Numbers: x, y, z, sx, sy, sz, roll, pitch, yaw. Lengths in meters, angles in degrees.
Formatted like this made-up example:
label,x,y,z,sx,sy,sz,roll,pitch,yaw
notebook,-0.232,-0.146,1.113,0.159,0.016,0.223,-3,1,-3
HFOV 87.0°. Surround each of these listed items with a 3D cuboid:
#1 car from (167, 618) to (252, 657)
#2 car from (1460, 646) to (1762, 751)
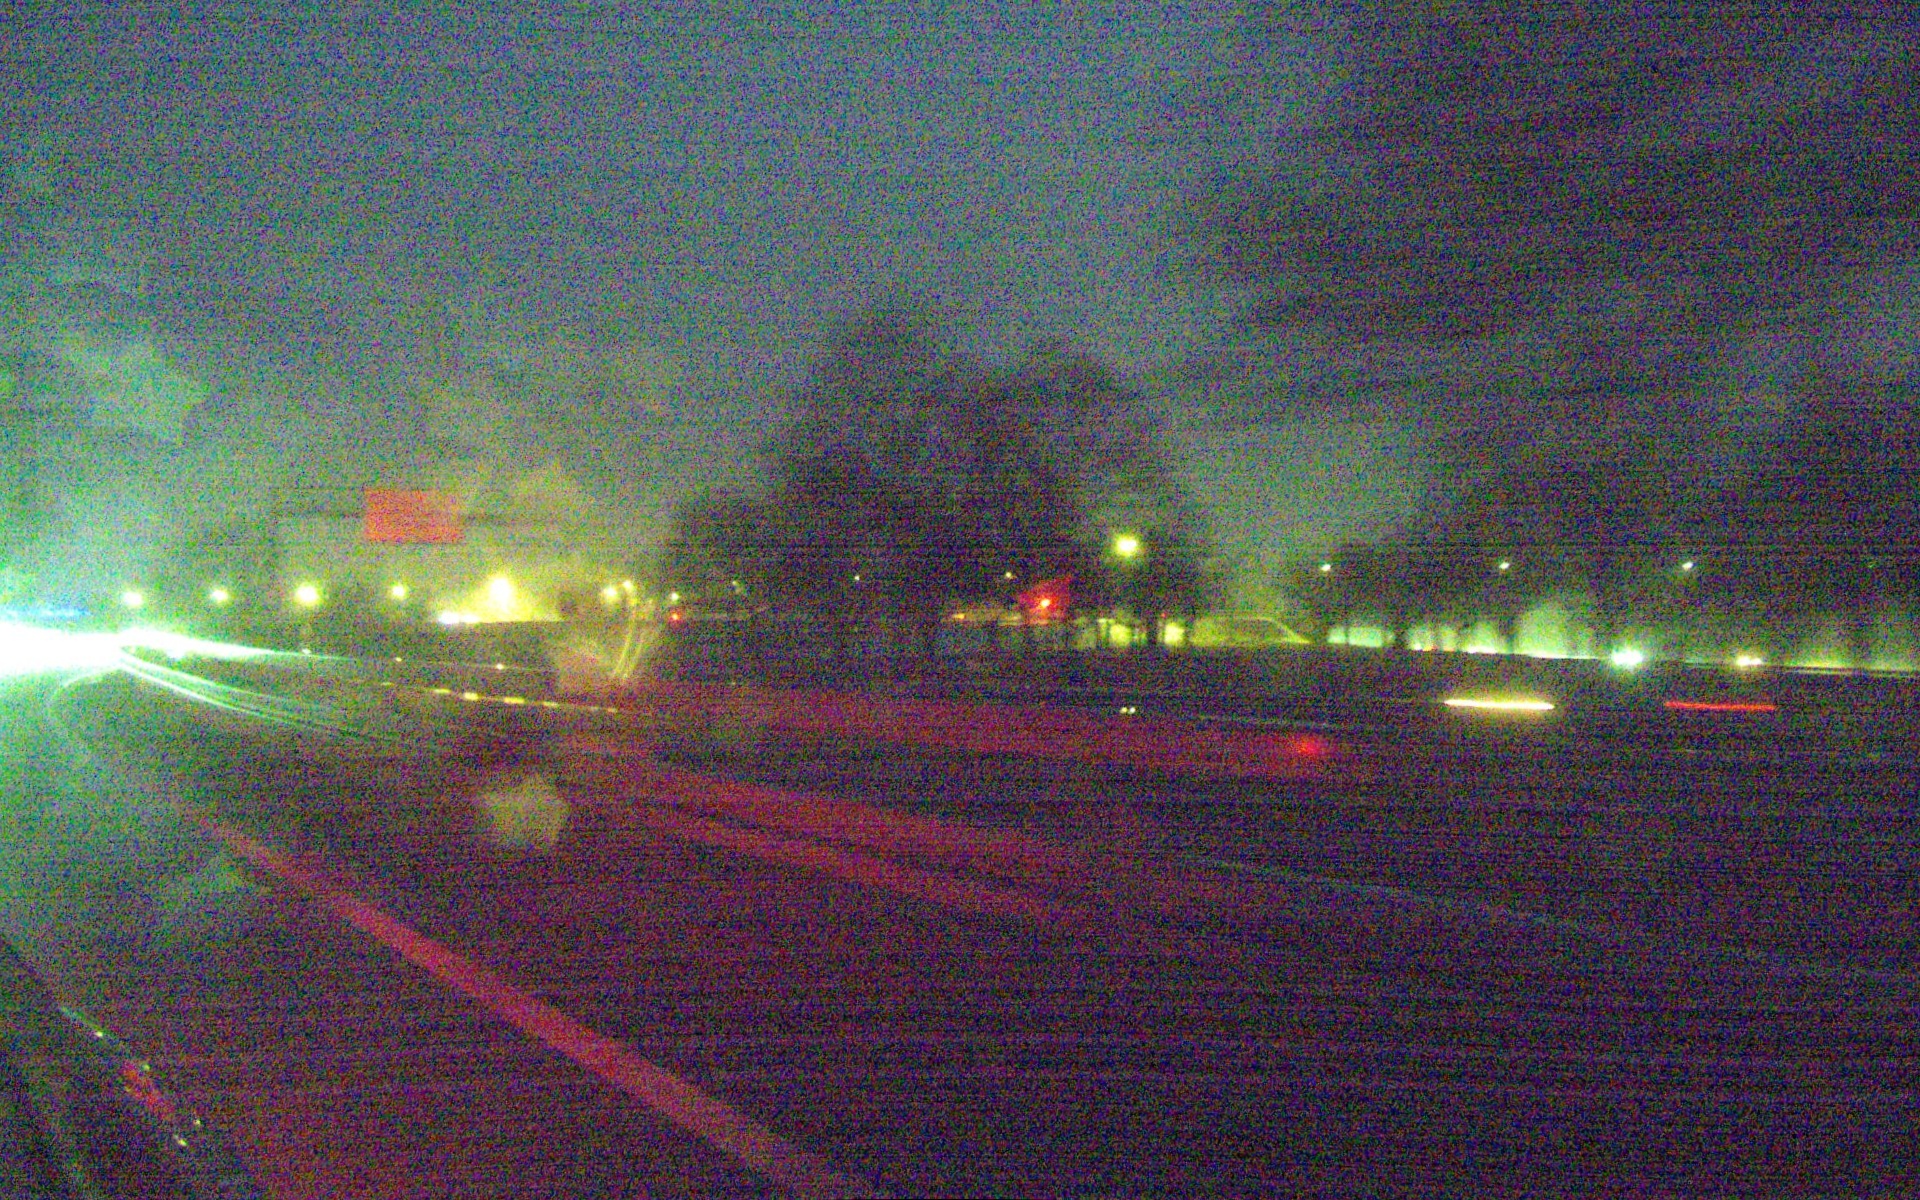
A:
label,x,y,z,sx,sy,sz,roll,pitch,yaw
car,-36.425,1.803,49.254,1.966,1.761,4.111,0,-2,-15
car,11.053,1.652,17.452,3.952,1.652,1.755,-1,-2,7
